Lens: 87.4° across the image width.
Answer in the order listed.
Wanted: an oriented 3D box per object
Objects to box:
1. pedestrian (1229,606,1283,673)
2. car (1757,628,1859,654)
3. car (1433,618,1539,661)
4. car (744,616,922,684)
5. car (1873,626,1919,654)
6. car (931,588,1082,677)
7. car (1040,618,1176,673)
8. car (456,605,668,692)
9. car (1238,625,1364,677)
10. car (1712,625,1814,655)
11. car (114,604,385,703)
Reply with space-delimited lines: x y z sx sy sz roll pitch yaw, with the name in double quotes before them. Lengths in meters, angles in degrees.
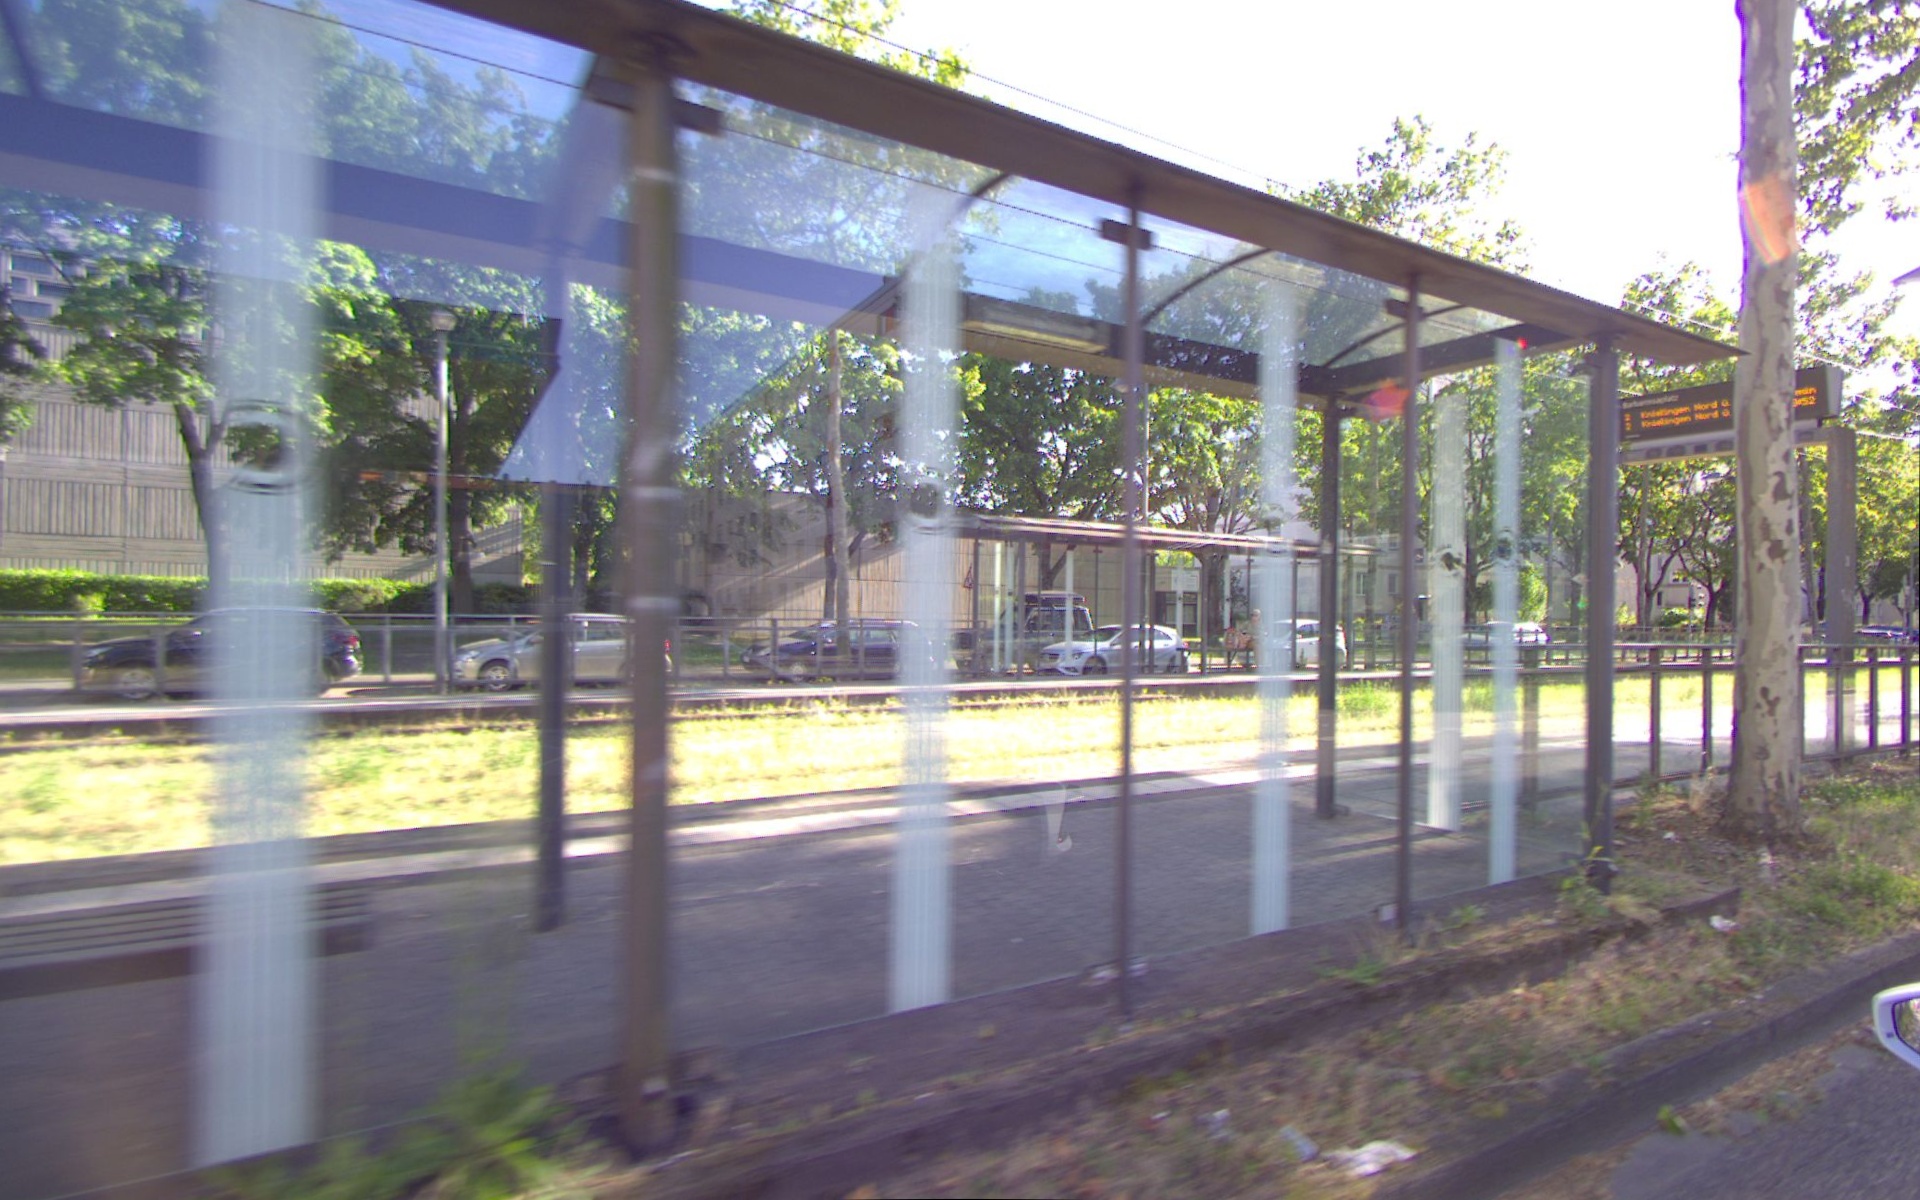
"pedestrian" 5.878 0.773 19.981 0.784 1.277 0.840 2 1 -2
"car" 45.905 2.193 54.460 3.749 1.263 1.841 1 0 18
"car" 20.486 1.521 39.068 4.150 1.566 1.706 1 -1 -30
"car" -3.043 1.176 24.327 3.975 1.508 1.585 1 -1 -32
"car" 58.736 2.447 61.397 4.002 1.496 1.651 1 4 13
"car" 1.319 0.879 27.805 3.889 2.292 1.705 1 0 -32
"car" 3.722 1.107 25.125 3.338 1.258 1.255 1 0 -32
"car" -8.260 0.970 20.932 3.885 1.658 1.586 1 -1 -31
"car" 11.120 1.634 32.718 3.884 1.566 1.707 1 -1 -28
"car" 42.187 2.087 52.849 3.747 1.454 1.842 1 0 10
"car" -12.811 0.926 18.433 3.884 1.654 1.586 1 0 -30
